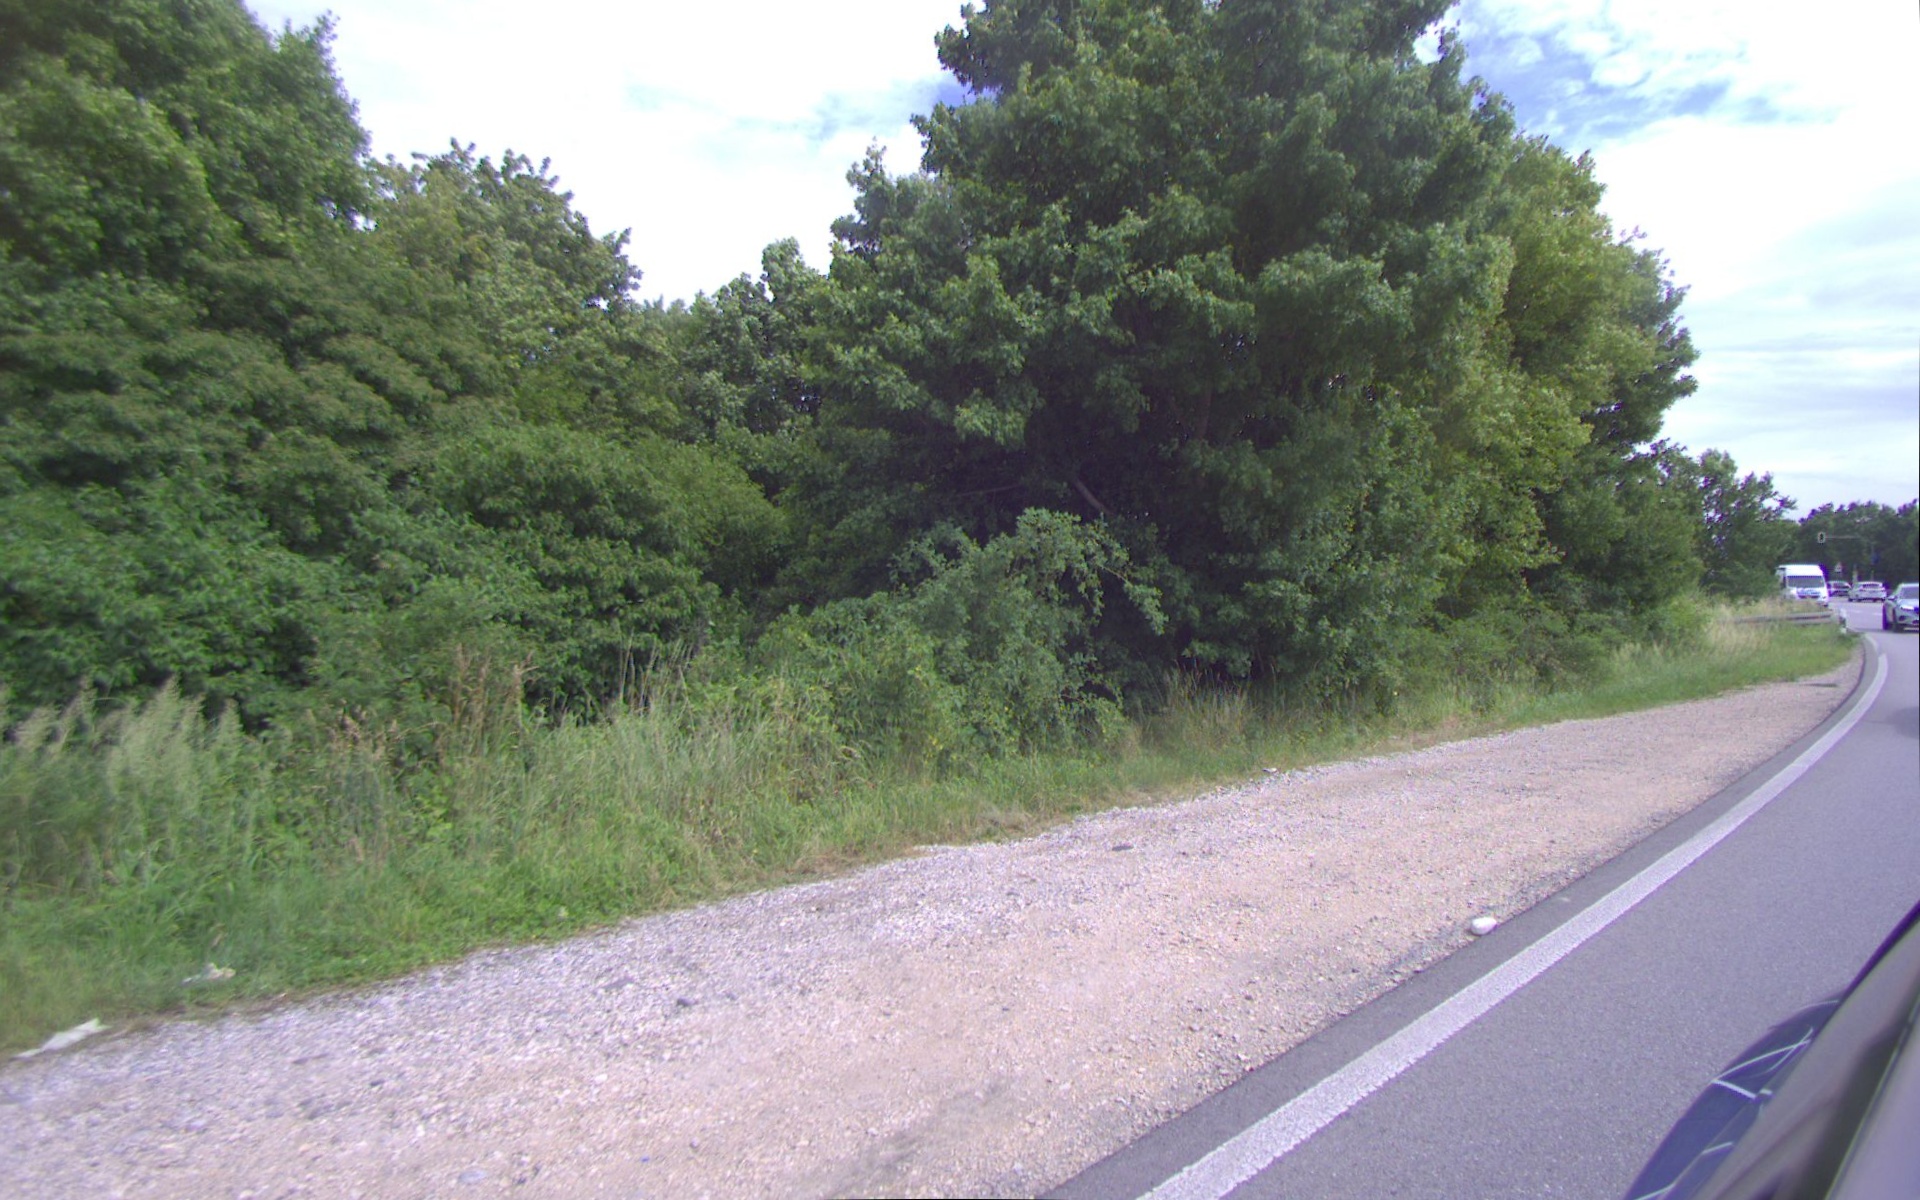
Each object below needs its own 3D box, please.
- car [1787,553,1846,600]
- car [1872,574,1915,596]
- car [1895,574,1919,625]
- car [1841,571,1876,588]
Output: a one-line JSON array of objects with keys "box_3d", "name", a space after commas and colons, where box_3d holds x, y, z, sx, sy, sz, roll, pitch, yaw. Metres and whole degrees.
[{"box_3d": [52.938, -1.418, 62.633, 2.206, 2.704, 5.173, -1, -1, 35], "name": "car"}, {"box_3d": [69.207, -1.110, 75.074, 1.723, 1.537, 3.952, -1, 0, 33], "name": "car"}, {"box_3d": [32.632, -0.032, 33.647, 2.012, 1.633, 4.220, 0, 1, 39], "name": "car"}, {"box_3d": [82.163, -1.899, 92.591, 1.869, 1.507, 3.700, 0, 1, 33], "name": "car"}]
